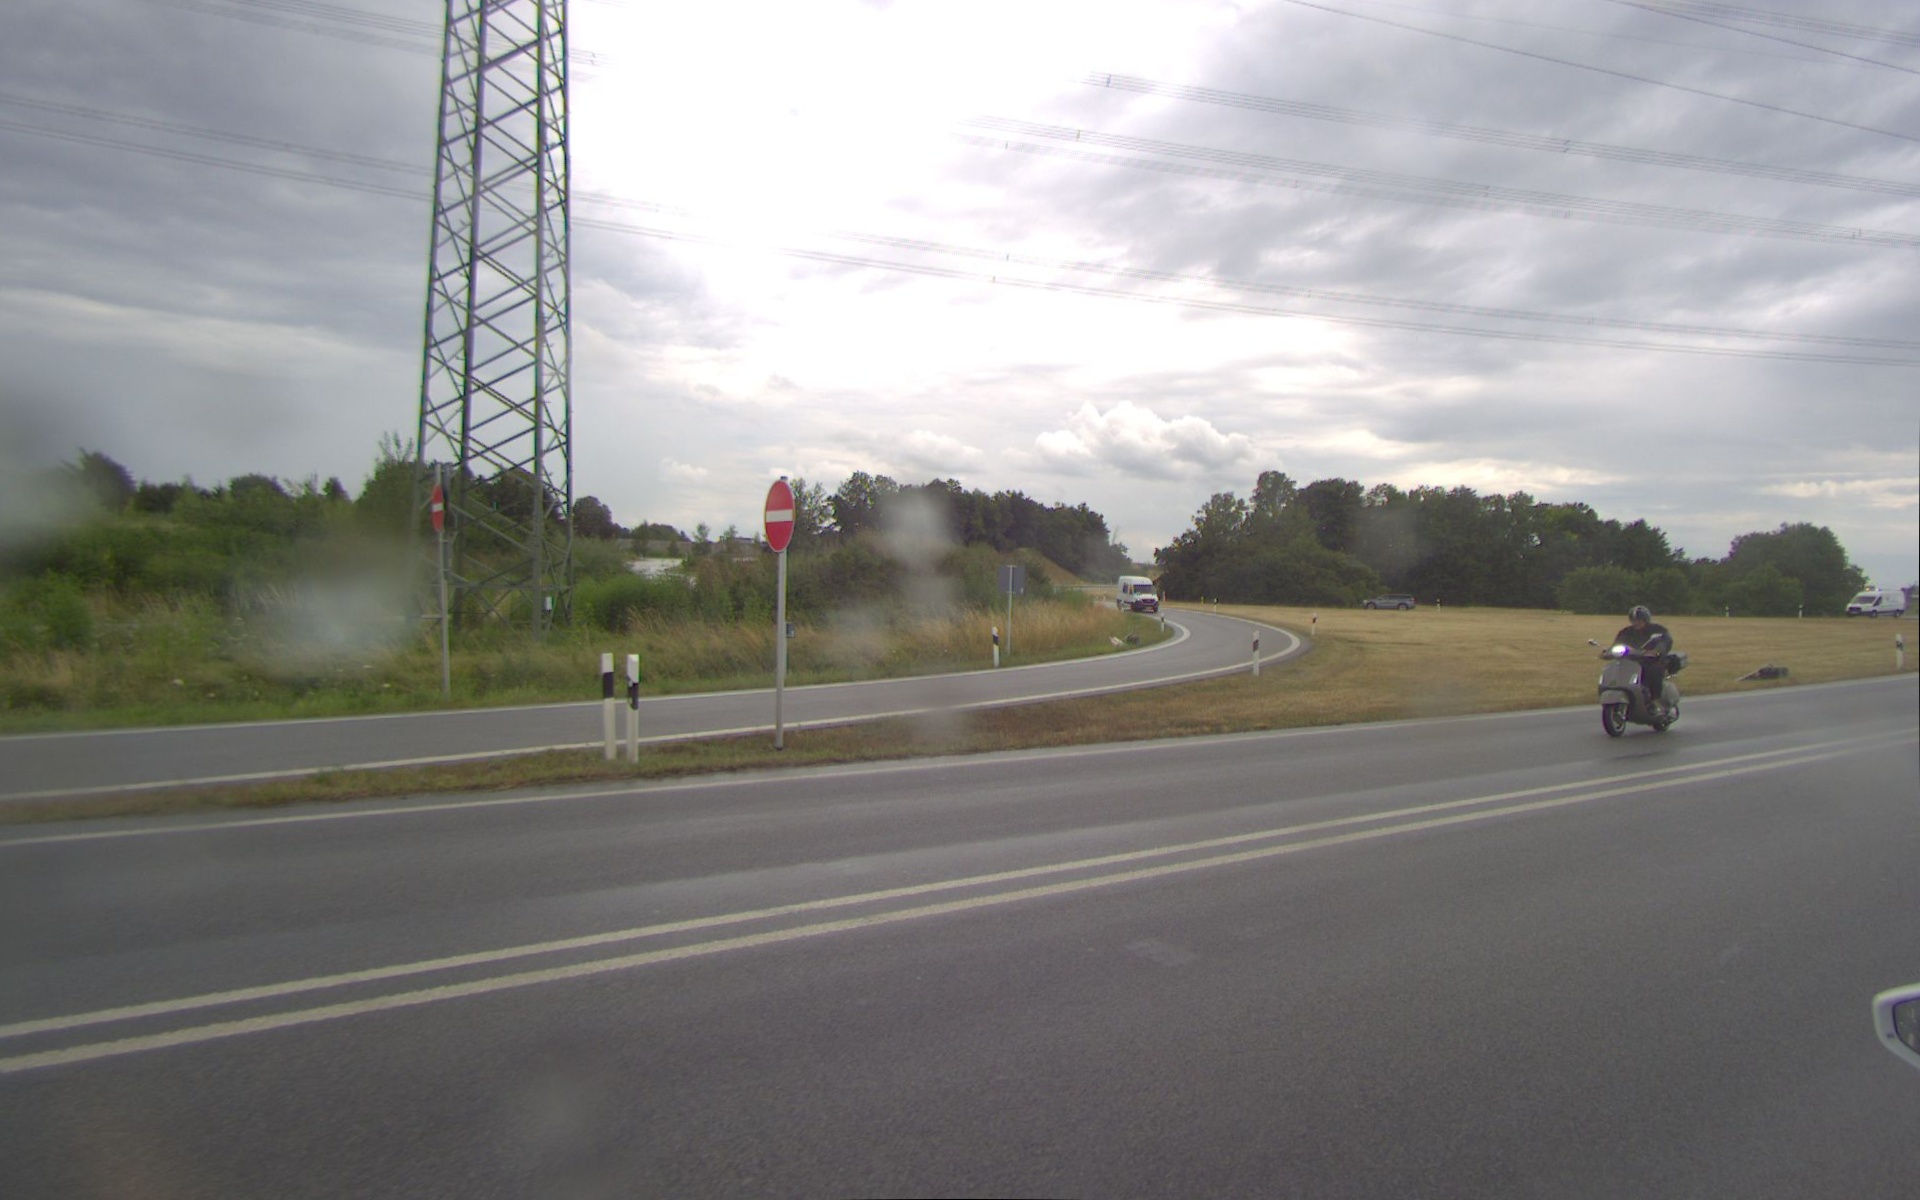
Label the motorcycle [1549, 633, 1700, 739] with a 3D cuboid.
[{"bbox_3d":[8.735,1.082,13.178,2.160,1.255,0.798,1,0,-31],"label":"motorcycle"}]

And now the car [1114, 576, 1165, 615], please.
[{"bbox_3d":[14.071,-0.431,79.278,2.173,2.786,6.014,4,1,-6],"label":"car"}]

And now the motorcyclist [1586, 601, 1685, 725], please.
[{"bbox_3d":[8.915,0.804,13.271,0.815,1.555,0.798,1,1,-31],"label":"motorcyclist"}]

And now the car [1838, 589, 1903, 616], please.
[{"bbox_3d":[82.622,0.235,91.169,5.394,2.423,2.427,0,1,-25],"label":"car"}]

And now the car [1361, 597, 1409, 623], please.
[{"bbox_3d":[40.266,0.901,95.164,3.926,2.040,1.997,6,3,27],"label":"car"}]
